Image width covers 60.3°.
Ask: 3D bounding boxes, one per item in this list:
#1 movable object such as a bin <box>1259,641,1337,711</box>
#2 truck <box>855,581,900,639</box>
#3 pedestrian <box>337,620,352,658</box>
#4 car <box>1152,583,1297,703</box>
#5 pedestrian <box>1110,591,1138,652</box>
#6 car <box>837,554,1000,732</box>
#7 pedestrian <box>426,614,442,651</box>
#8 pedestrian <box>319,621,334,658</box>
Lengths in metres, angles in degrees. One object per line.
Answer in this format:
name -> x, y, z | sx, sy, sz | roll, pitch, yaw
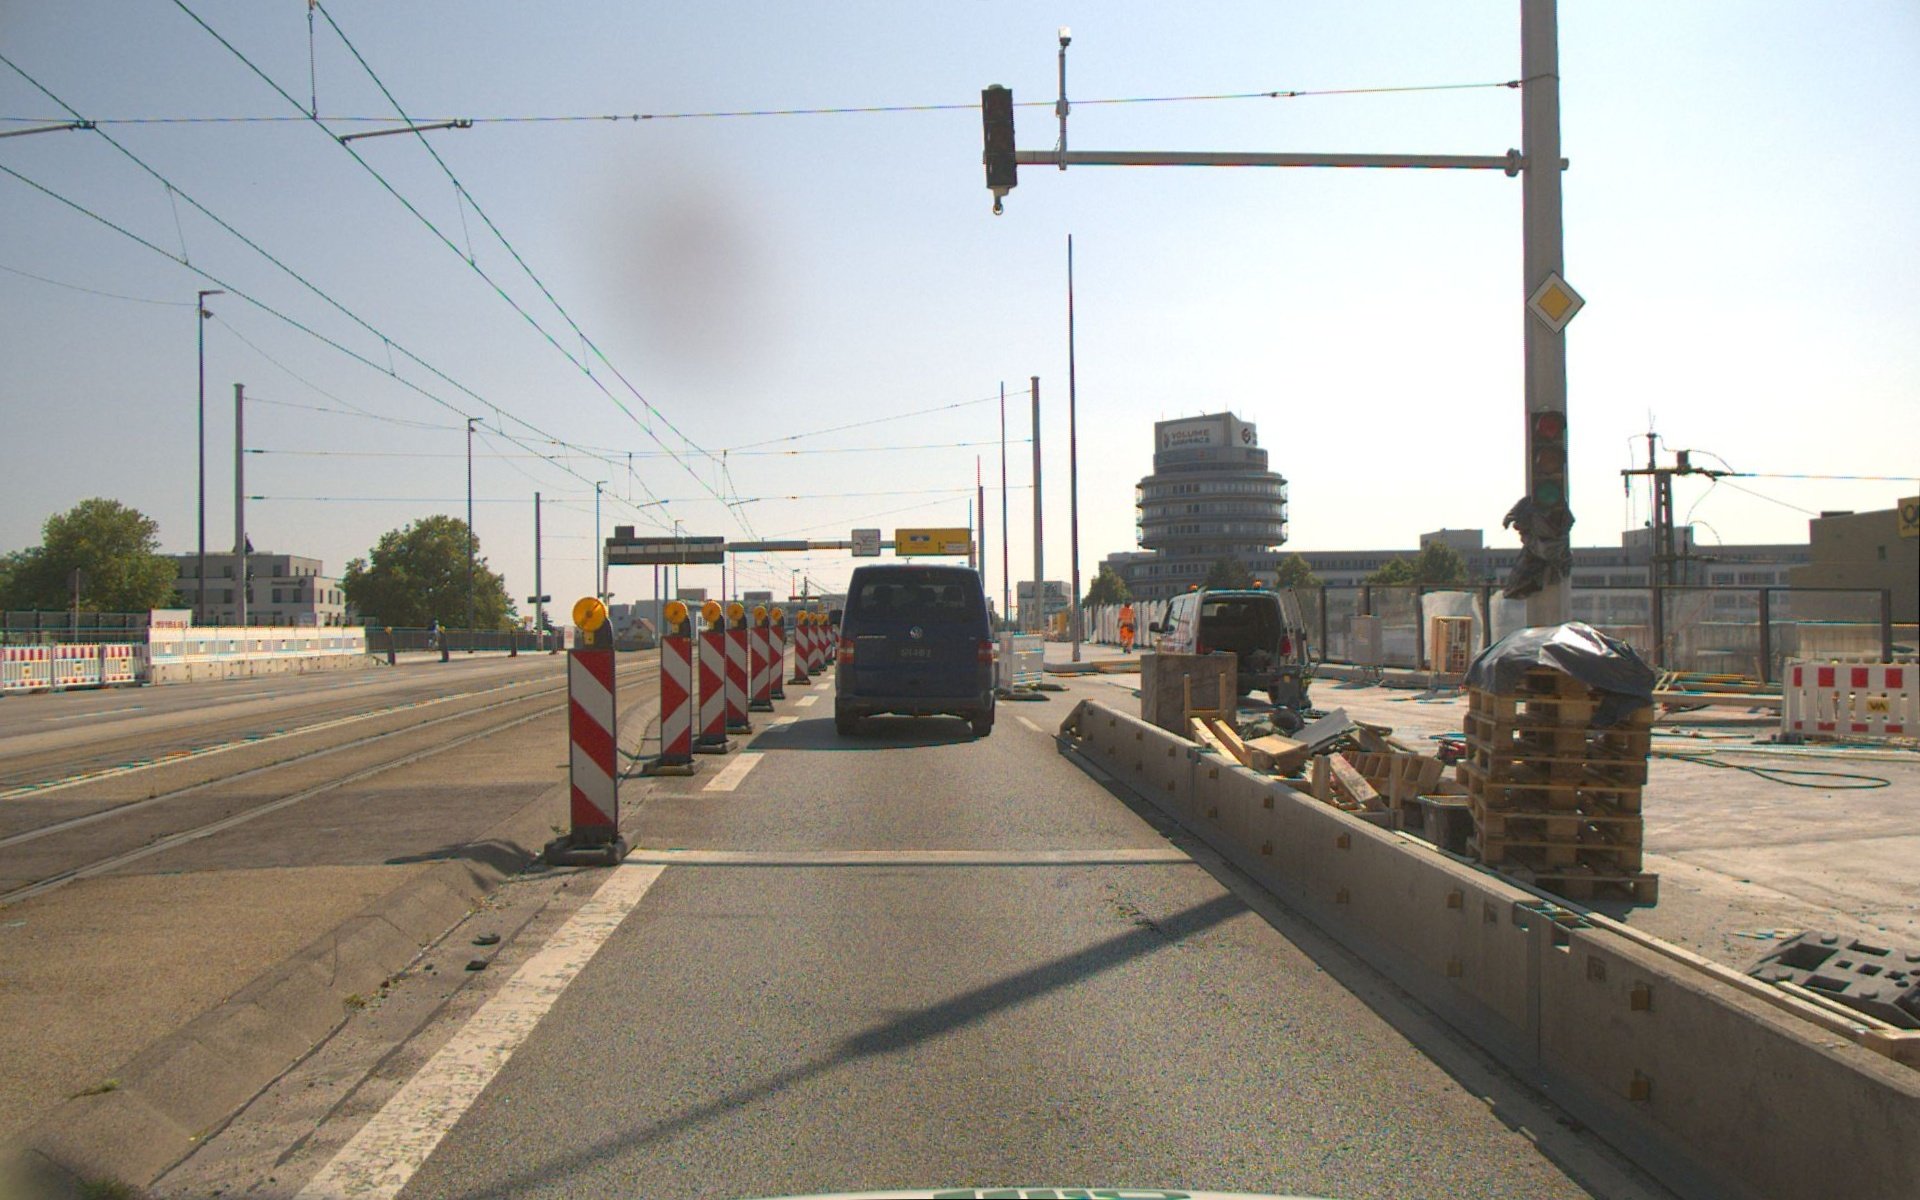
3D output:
movable object such as a bin -> 5.532, 1.234, 27.082 | 0.926, 1.093, 0.885 | -1, -1, 44
truck -> -4.816, 0.571, 97.366 | 2.411, 3.189, 11.209 | -1, 0, -2
pedestrian -> -28.528, 1.809, 76.621 | 0.485, 1.724, 0.473 | 0, -2, -3
car -> 4.834, 0.786, 30.923 | 1.840, 2.069, 4.889 | 0, -1, -1
pedestrian -> 5.446, 0.714, 54.900 | 0.766, 1.969, 0.799 | -2, -2, -3
car -> -0.507, 0.479, 20.352 | 1.779, 1.939, 4.053 | -1, 0, -1
pedestrian -> -27.310, 1.666, 85.834 | 0.621, 1.927, 0.752 | 0, -1, -3
pedestrian -> -29.329, 1.830, 76.572 | 0.485, 1.724, 0.473 | 0, -2, -3
